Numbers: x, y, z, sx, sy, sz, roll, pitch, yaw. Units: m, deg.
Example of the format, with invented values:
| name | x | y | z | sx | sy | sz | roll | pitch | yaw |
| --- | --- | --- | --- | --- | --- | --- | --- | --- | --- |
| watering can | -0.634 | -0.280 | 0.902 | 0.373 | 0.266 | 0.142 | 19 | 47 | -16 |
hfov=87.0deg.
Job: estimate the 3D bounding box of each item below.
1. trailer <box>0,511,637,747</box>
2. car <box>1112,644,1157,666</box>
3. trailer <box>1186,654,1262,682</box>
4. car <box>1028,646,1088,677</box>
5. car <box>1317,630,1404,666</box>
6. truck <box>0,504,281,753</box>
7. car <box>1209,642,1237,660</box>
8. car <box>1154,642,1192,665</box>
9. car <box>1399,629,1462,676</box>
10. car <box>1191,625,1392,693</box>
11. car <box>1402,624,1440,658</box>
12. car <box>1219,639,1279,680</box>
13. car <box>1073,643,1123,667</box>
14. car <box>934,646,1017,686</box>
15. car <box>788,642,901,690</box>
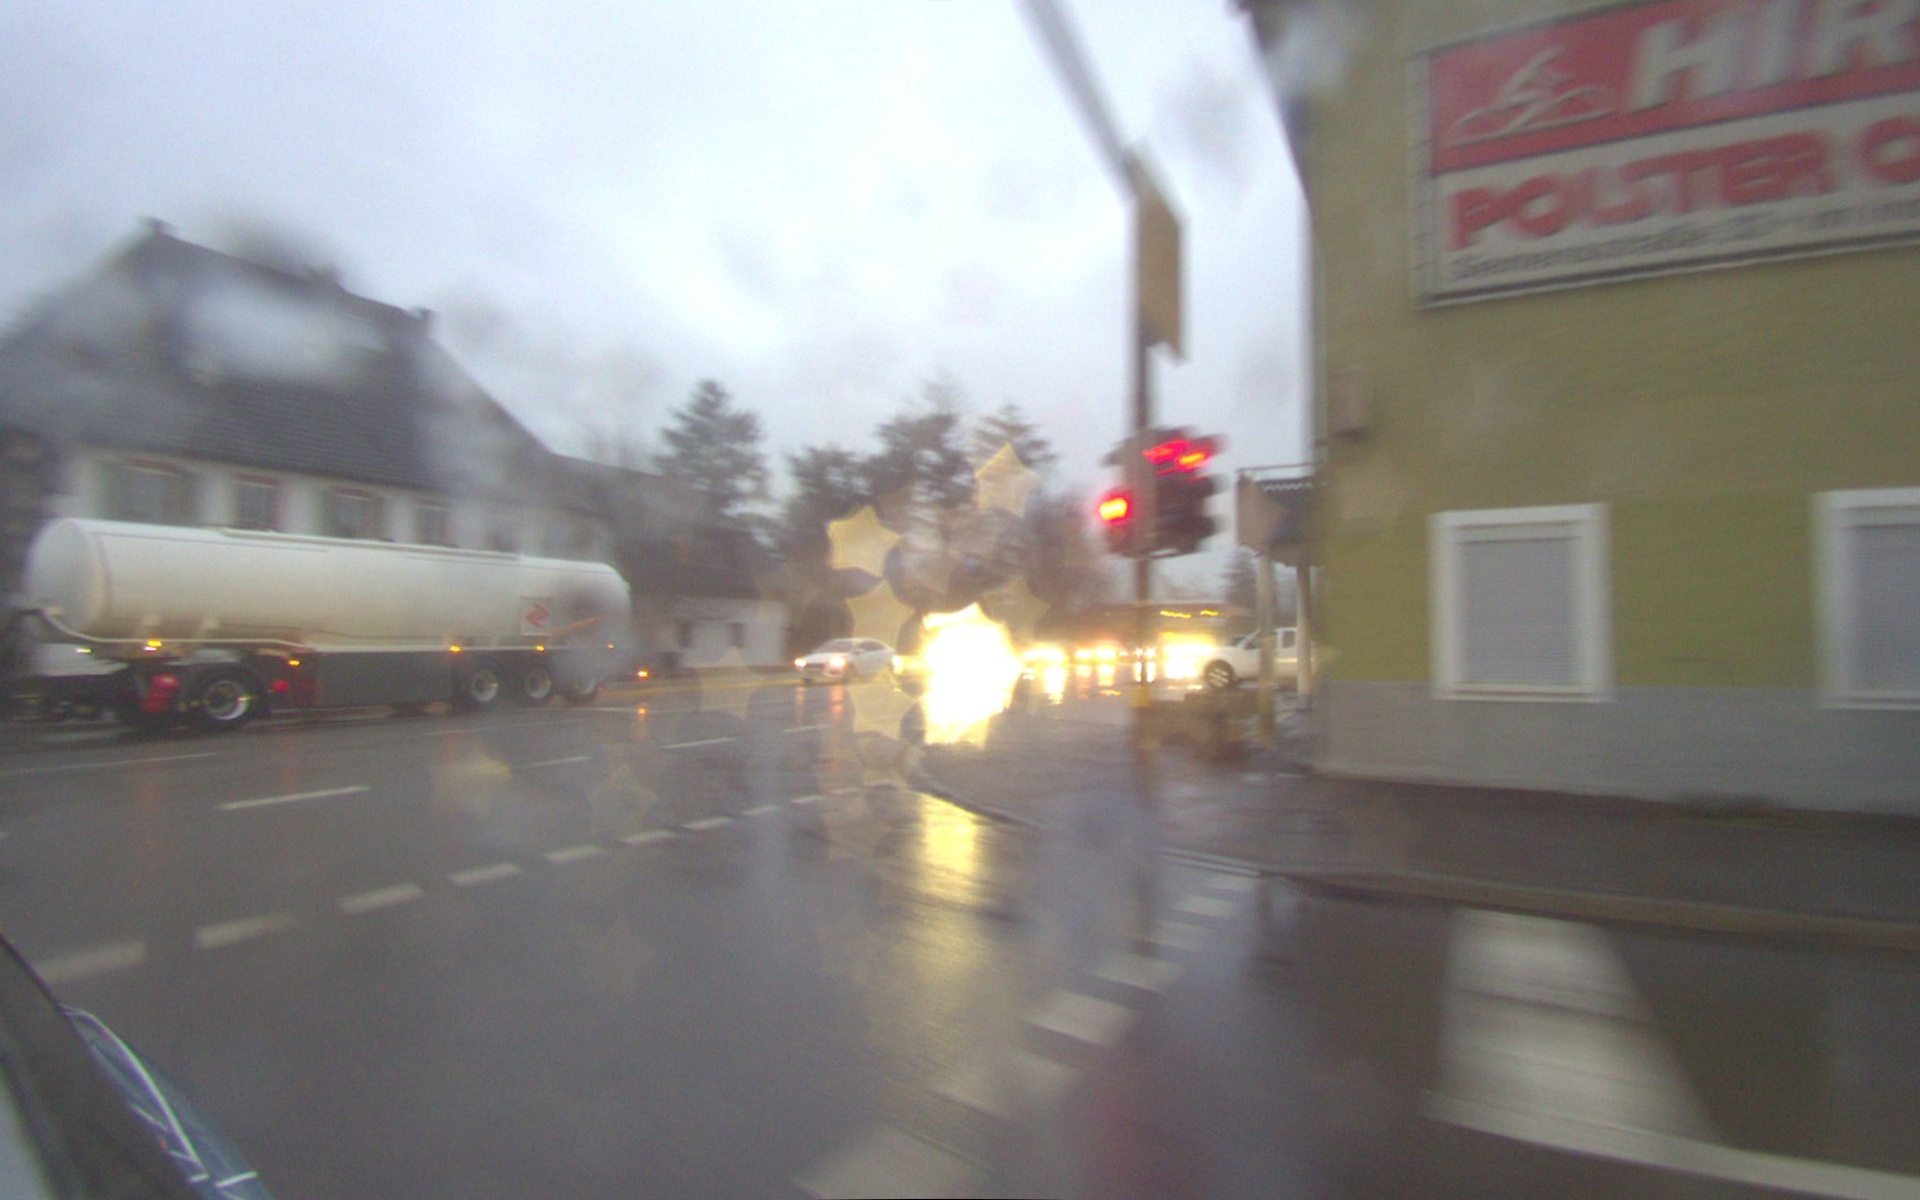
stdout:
| name | x | y | z | sx | sy | sz | roll | pitch | yaw |
| --- | --- | --- | --- | --- | --- | --- | --- | --- | --- |
| trailer | -10.990 | 0.619 | 19.468 | 2.482 | 3.265 | 10.775 | -2 | -3 | 25 |
| car | 11.591 | 3.596 | 66.960 | 1.637 | 1.377 | 4.726 | -2 | -3 | 26 |
| trailer | 11.277 | 2.838 | 42.954 | 1.989 | 1.047 | 6.049 | 0 | -2 | 26 |
| car | 5.125 | 3.151 | 52.282 | 1.698 | 1.483 | 4.233 | -3 | -3 | 26 |
| car | 22.229 | 2.688 | 56.156 | 4.269 | 1.777 | 1.982 | -4 | -4 | 27 |
| truck | -13.485 | 0.429 | 14.181 | 2.456 | 3.254 | 6.219 | -2 | -3 | 25 |
| car | 23.894 | 4.610 | 91.736 | 2.003 | 1.504 | 3.971 | -2 | -3 | 21 |
| car | 15.711 | 3.920 | 74.499 | 1.705 | 1.588 | 4.424 | -2 | -3 | 26 |
| car | 17.586 | 1.939 | 37.843 | 1.989 | 1.637 | 3.965 | -1 | -2 | 25 |
| car | 9.438 | 1.646 | 28.913 | 5.182 | 1.804 | 1.981 | -2 | -3 | 28 |
| car | 26.085 | 2.309 | 57.217 | 1.881 | 1.883 | 3.965 | -1 | -2 | 25 |
| car | 13.682 | 2.767 | 47.726 | 1.966 | 1.844 | 4.472 | 0 | -2 | 26 |
| car | 8.069 | 3.186 | 58.777 | 1.650 | 1.346 | 4.234 | -2 | -3 | 26 |
| car | 0.725 | 2.769 | 43.025 | 1.832 | 1.580 | 4.464 | -3 | -3 | 25 |
| car | -3.717 | 2.129 | 33.350 | 1.658 | 1.450 | 4.343 | -3 | -3 | 25 |
